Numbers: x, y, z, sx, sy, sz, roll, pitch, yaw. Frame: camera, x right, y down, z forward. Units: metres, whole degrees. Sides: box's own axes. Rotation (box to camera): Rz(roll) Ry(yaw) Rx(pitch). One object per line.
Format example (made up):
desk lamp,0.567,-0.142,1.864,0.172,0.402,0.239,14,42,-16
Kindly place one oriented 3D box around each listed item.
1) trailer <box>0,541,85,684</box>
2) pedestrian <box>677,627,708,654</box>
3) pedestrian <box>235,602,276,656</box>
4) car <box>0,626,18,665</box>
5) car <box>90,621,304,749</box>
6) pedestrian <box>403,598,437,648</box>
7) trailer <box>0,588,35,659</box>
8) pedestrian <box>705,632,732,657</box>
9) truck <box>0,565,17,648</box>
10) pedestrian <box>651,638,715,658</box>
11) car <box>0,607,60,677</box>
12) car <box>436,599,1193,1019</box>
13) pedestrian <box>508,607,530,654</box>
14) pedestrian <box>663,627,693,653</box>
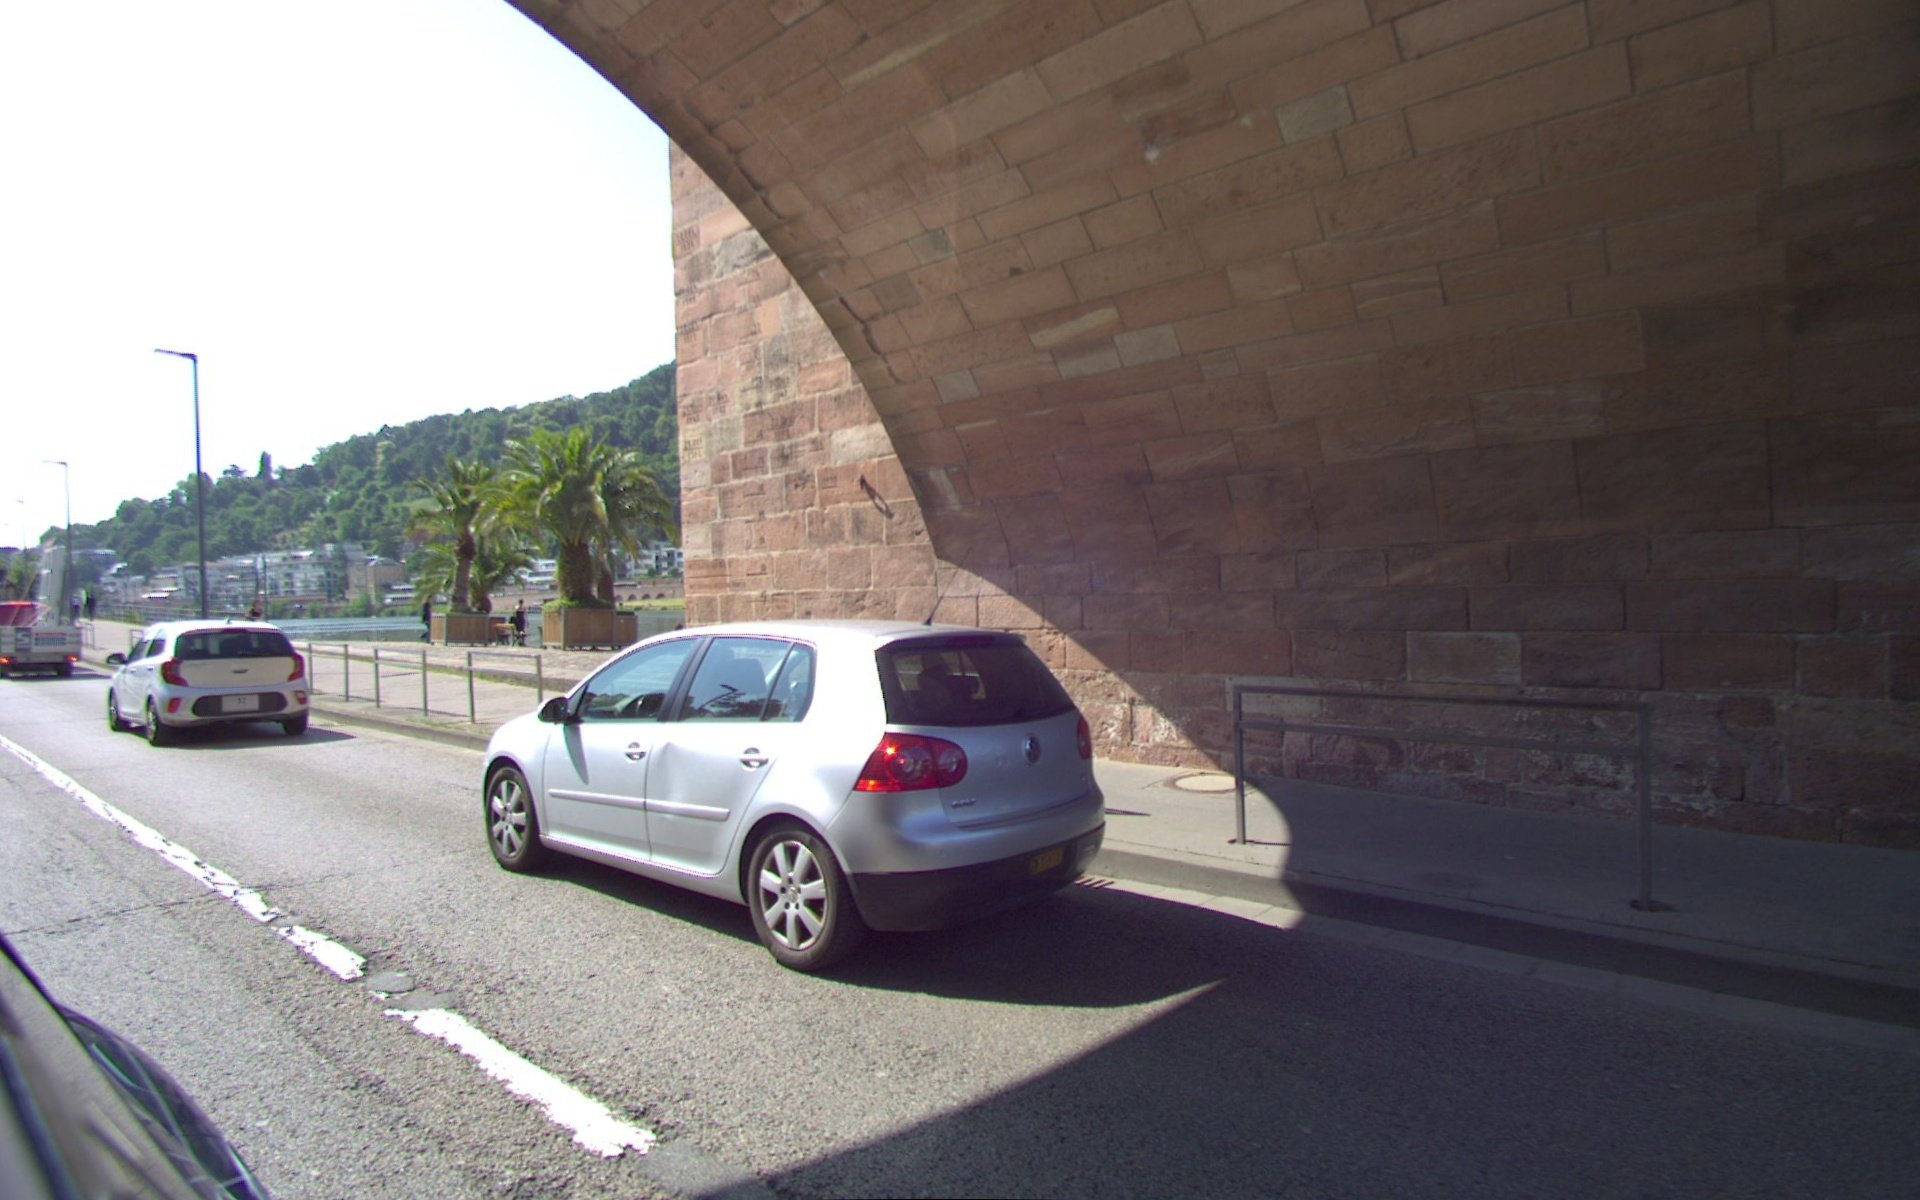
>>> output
trailer,-23.318,0.324,25.316,3.383,3.345,1.723,-1,-1,42
pedestrian,-7.869,1.186,29.776,0.688,0.747,0.604,-2,0,-44
pedestrian,-22.959,0.936,32.977,1.151,1.713,0.807,0,1,42
car,-32.927,1.513,33.891,3.627,1.203,1.653,0,-1,41
car,-10.127,1.007,13.339,3.726,1.447,1.519,-1,-1,41
pedestrian,-18.705,0.795,35.077,0.847,1.704,0.785,-1,0,45
trailer,-37.228,0.820,38.312,6.947,2.550,2.668,0,0,43
pedestrian,-5.942,1.092,24.896,0.457,0.568,0.515,4,-3,-39
truck,-43.395,0.245,44.301,7.873,3.483,2.612,0,-1,44
pedestrian,-6.651,1.137,24.219,1.741,0.425,0.638,-1,-2,42
car,-26.699,1.144,28.250,4.542,1.841,1.854,-1,-1,42
car,-1.107,0.767,5.601,4.398,1.447,1.705,-1,-2,41
pedestrian,-15.483,1.045,35.523,0.585,1.613,0.682,-1,0,-32
pedestrian,-8.429,1.191,30.292,0.688,0.747,0.531,-2,0,-44
